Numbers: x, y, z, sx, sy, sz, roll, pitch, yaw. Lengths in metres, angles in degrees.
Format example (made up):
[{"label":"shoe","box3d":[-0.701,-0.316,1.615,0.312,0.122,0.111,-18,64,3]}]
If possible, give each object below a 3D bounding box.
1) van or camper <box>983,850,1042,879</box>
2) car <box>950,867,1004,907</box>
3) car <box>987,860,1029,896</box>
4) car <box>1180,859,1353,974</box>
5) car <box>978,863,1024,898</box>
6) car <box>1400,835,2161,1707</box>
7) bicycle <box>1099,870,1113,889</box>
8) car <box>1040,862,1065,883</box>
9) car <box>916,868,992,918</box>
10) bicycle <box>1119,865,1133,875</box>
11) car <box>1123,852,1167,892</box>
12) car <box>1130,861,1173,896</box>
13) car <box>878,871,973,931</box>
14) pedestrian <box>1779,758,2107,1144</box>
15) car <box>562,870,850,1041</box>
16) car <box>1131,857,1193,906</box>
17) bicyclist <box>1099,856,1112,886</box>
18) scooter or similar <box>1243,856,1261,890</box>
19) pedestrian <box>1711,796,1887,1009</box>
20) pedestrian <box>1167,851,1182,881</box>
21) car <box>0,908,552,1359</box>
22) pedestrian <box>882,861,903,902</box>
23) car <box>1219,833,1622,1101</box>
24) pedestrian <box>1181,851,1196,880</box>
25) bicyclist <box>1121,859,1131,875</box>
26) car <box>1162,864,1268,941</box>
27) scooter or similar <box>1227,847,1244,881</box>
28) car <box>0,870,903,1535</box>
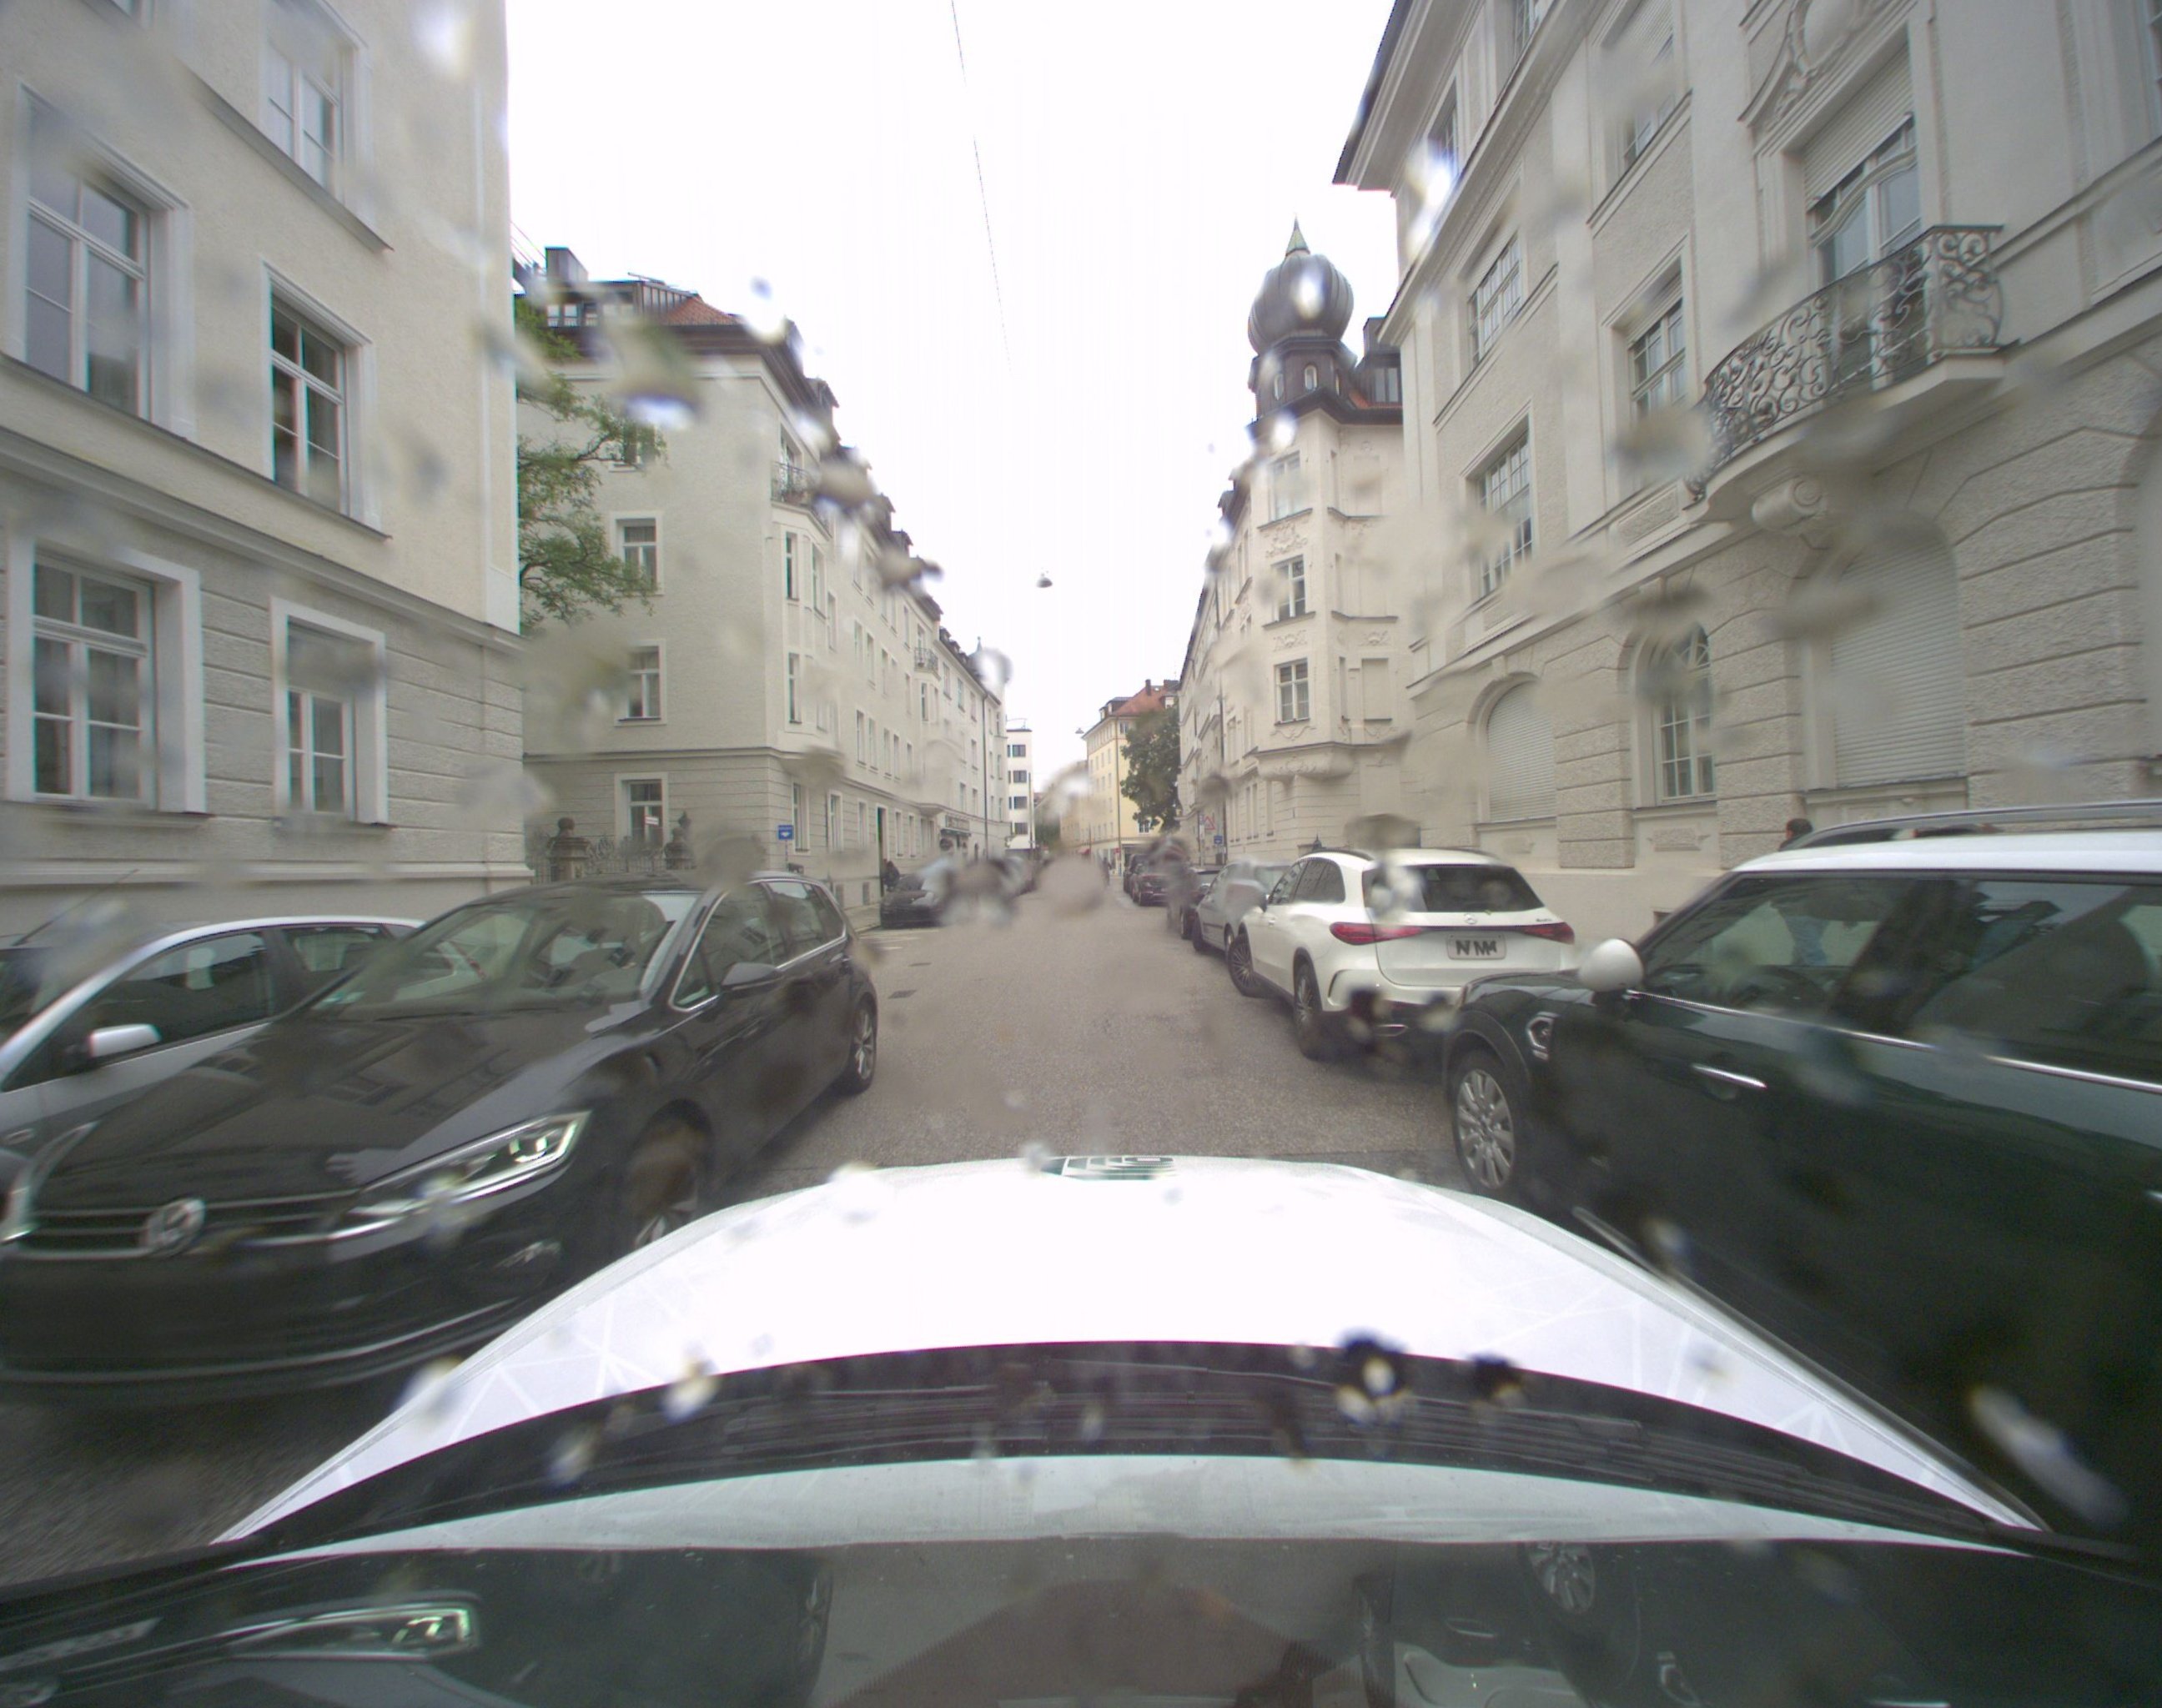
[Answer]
[{"label":"van or camper","box3d":[-7.036,1.113,83.924,5.900,2.677,1.868,-3,-2,-8]},{"label":"car","box3d":[-4.303,1.321,34.155,1.806,1.385,4.439,-4,0,-3]},{"label":"car","box3d":[-3.899,1.234,43.868,1.741,1.673,4.274,-5,0,0]},{"label":"car","box3d":[2.749,0.861,12.979,1.704,1.501,3.997,-2,-1,-2]},{"label":"car","box3d":[-3.777,1.246,39.038,1.736,1.487,4.181,-3,0,0]},{"label":"car","box3d":[2.576,0.734,2.284,1.742,1.525,4.171,-2,0,1]},{"label":"bicycle","box3d":[1.379,1.386,44.884,0.636,1.004,1.576,-3,-1,5]},{"label":"car","box3d":[-2.320,1.498,67.817,1.670,1.597,3.947,-5,-1,3]},{"label":"car","box3d":[-4.392,1.314,28.834,1.788,1.419,4.511,-5,-1,1]},{"label":"bicycle","box3d":[4.668,1.698,84.482,0.848,1.001,2.159,-2,0,-13]},{"label":"car","box3d":[3.136,0.860,40.641,1.904,1.885,4.714,0,0,1]},{"label":"car","box3d":[2.950,1.012,34.620,1.657,1.395,3.584,-1,-1,3]},{"label":"car","box3d":[-4.300,1.255,23.193,1.844,1.367,4.699,-2,0,-1]},{"label":"pedestrian","box3d":[4.457,0.459,4.293,0.680,1.775,0.855,-5,0,1]},{"label":"car","box3d":[-4.550,1.121,10.659,1.691,1.580,4.062,-5,0,1]},{"label":"car","box3d":[2.789,0.905,28.793,1.702,1.588,3.998,-1,0,-1]},{"label":"bicyclist","box3d":[1.356,0.914,44.901,0.603,1.606,0.758,-3,0,5]},{"label":"scooter or similar","box3d":[6.828,0.738,32.552,0.503,1.287,1.355,-5,-1,9]},{"label":"pedestrian","box3d":[6.157,0.392,7.031,0.680,1.679,0.812,-5,0,0]},{"label":"pedestrian","box3d":[5.556,0.716,48.550,0.701,1.728,0.703,-3,-1,-2]},{"label":"car","box3d":[-4.677,1.143,3.912,1.640,1.403,3.997,-5,0,-2]},{"label":"pedestrian","box3d":[-8.090,1.187,34.888,0.696,1.707,0.665,-2,-1,-2]},{"label":"car","box3d":[2.535,0.702,7.392,1.888,1.636,4.393,-3,0,2]},{"label":"pedestrian","box3d":[6.451,0.689,49.037,0.678,1.674,0.654,-5,-1,-2]},{"label":"bicyclist","box3d":[4.674,1.305,84.414,0.782,1.637,0.971,-2,-1,-13]},{"label":"car","box3d":[2.760,0.954,17.542,1.607,1.395,3.999,-1,0,0]},{"label":"scooter or similar","box3d":[6.171,0.399,32.532,0.537,1.287,1.507,-5,-1,9]},{"label":"car","box3d":[-2.307,0.943,4.120,1.718,1.533,4.086,-5,-1,1]}]
